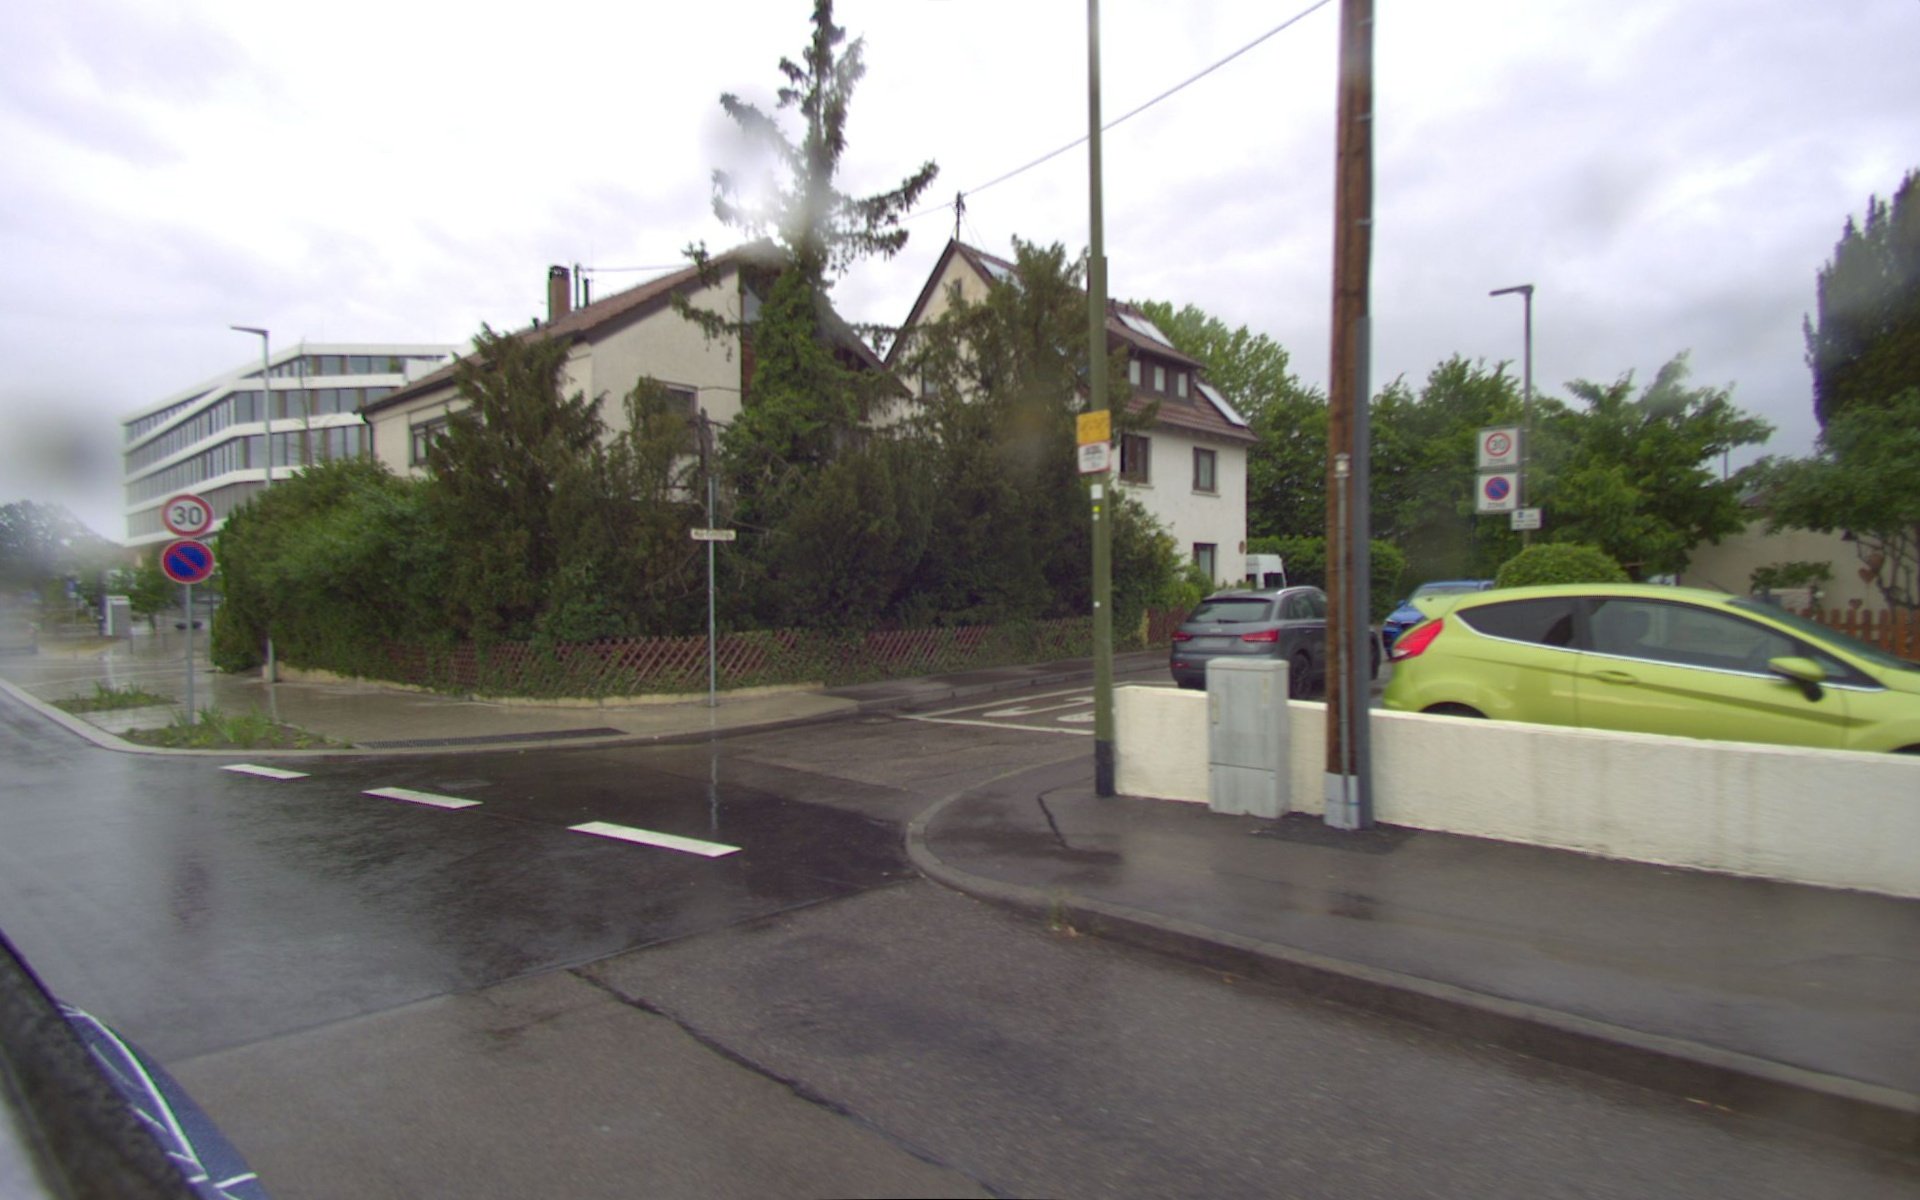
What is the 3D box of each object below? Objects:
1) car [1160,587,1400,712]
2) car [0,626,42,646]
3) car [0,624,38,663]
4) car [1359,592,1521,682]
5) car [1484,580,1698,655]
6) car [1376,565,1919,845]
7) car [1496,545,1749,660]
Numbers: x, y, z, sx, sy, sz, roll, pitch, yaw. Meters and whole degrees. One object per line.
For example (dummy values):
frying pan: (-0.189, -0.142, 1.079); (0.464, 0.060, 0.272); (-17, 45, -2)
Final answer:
car: (4.781, 0.644, 14.858); (1.785, 1.478, 3.800); (-3, 0, 44)
car: (-76.972, 2.982, 81.691); (4.107, 1.430, 2.003); (-4, 2, -41)
car: (-45.599, 2.070, 48.572); (1.816, 1.718, 4.326); (-2, 1, -44)
car: (10.164, 0.723, 21.292); (1.926, 1.586, 3.957); (-3, 0, 43)
car: (14.873, 0.427, 23.960); (3.933, 1.589, 1.993); (-3, 0, 44)
car: (4.861, 0.529, 6.757); (3.458, 1.478, 1.759); (0, 2, 44)
car: (13.083, 0.014, 20.096); (3.932, 2.028, 1.986); (-1, 2, 43)
